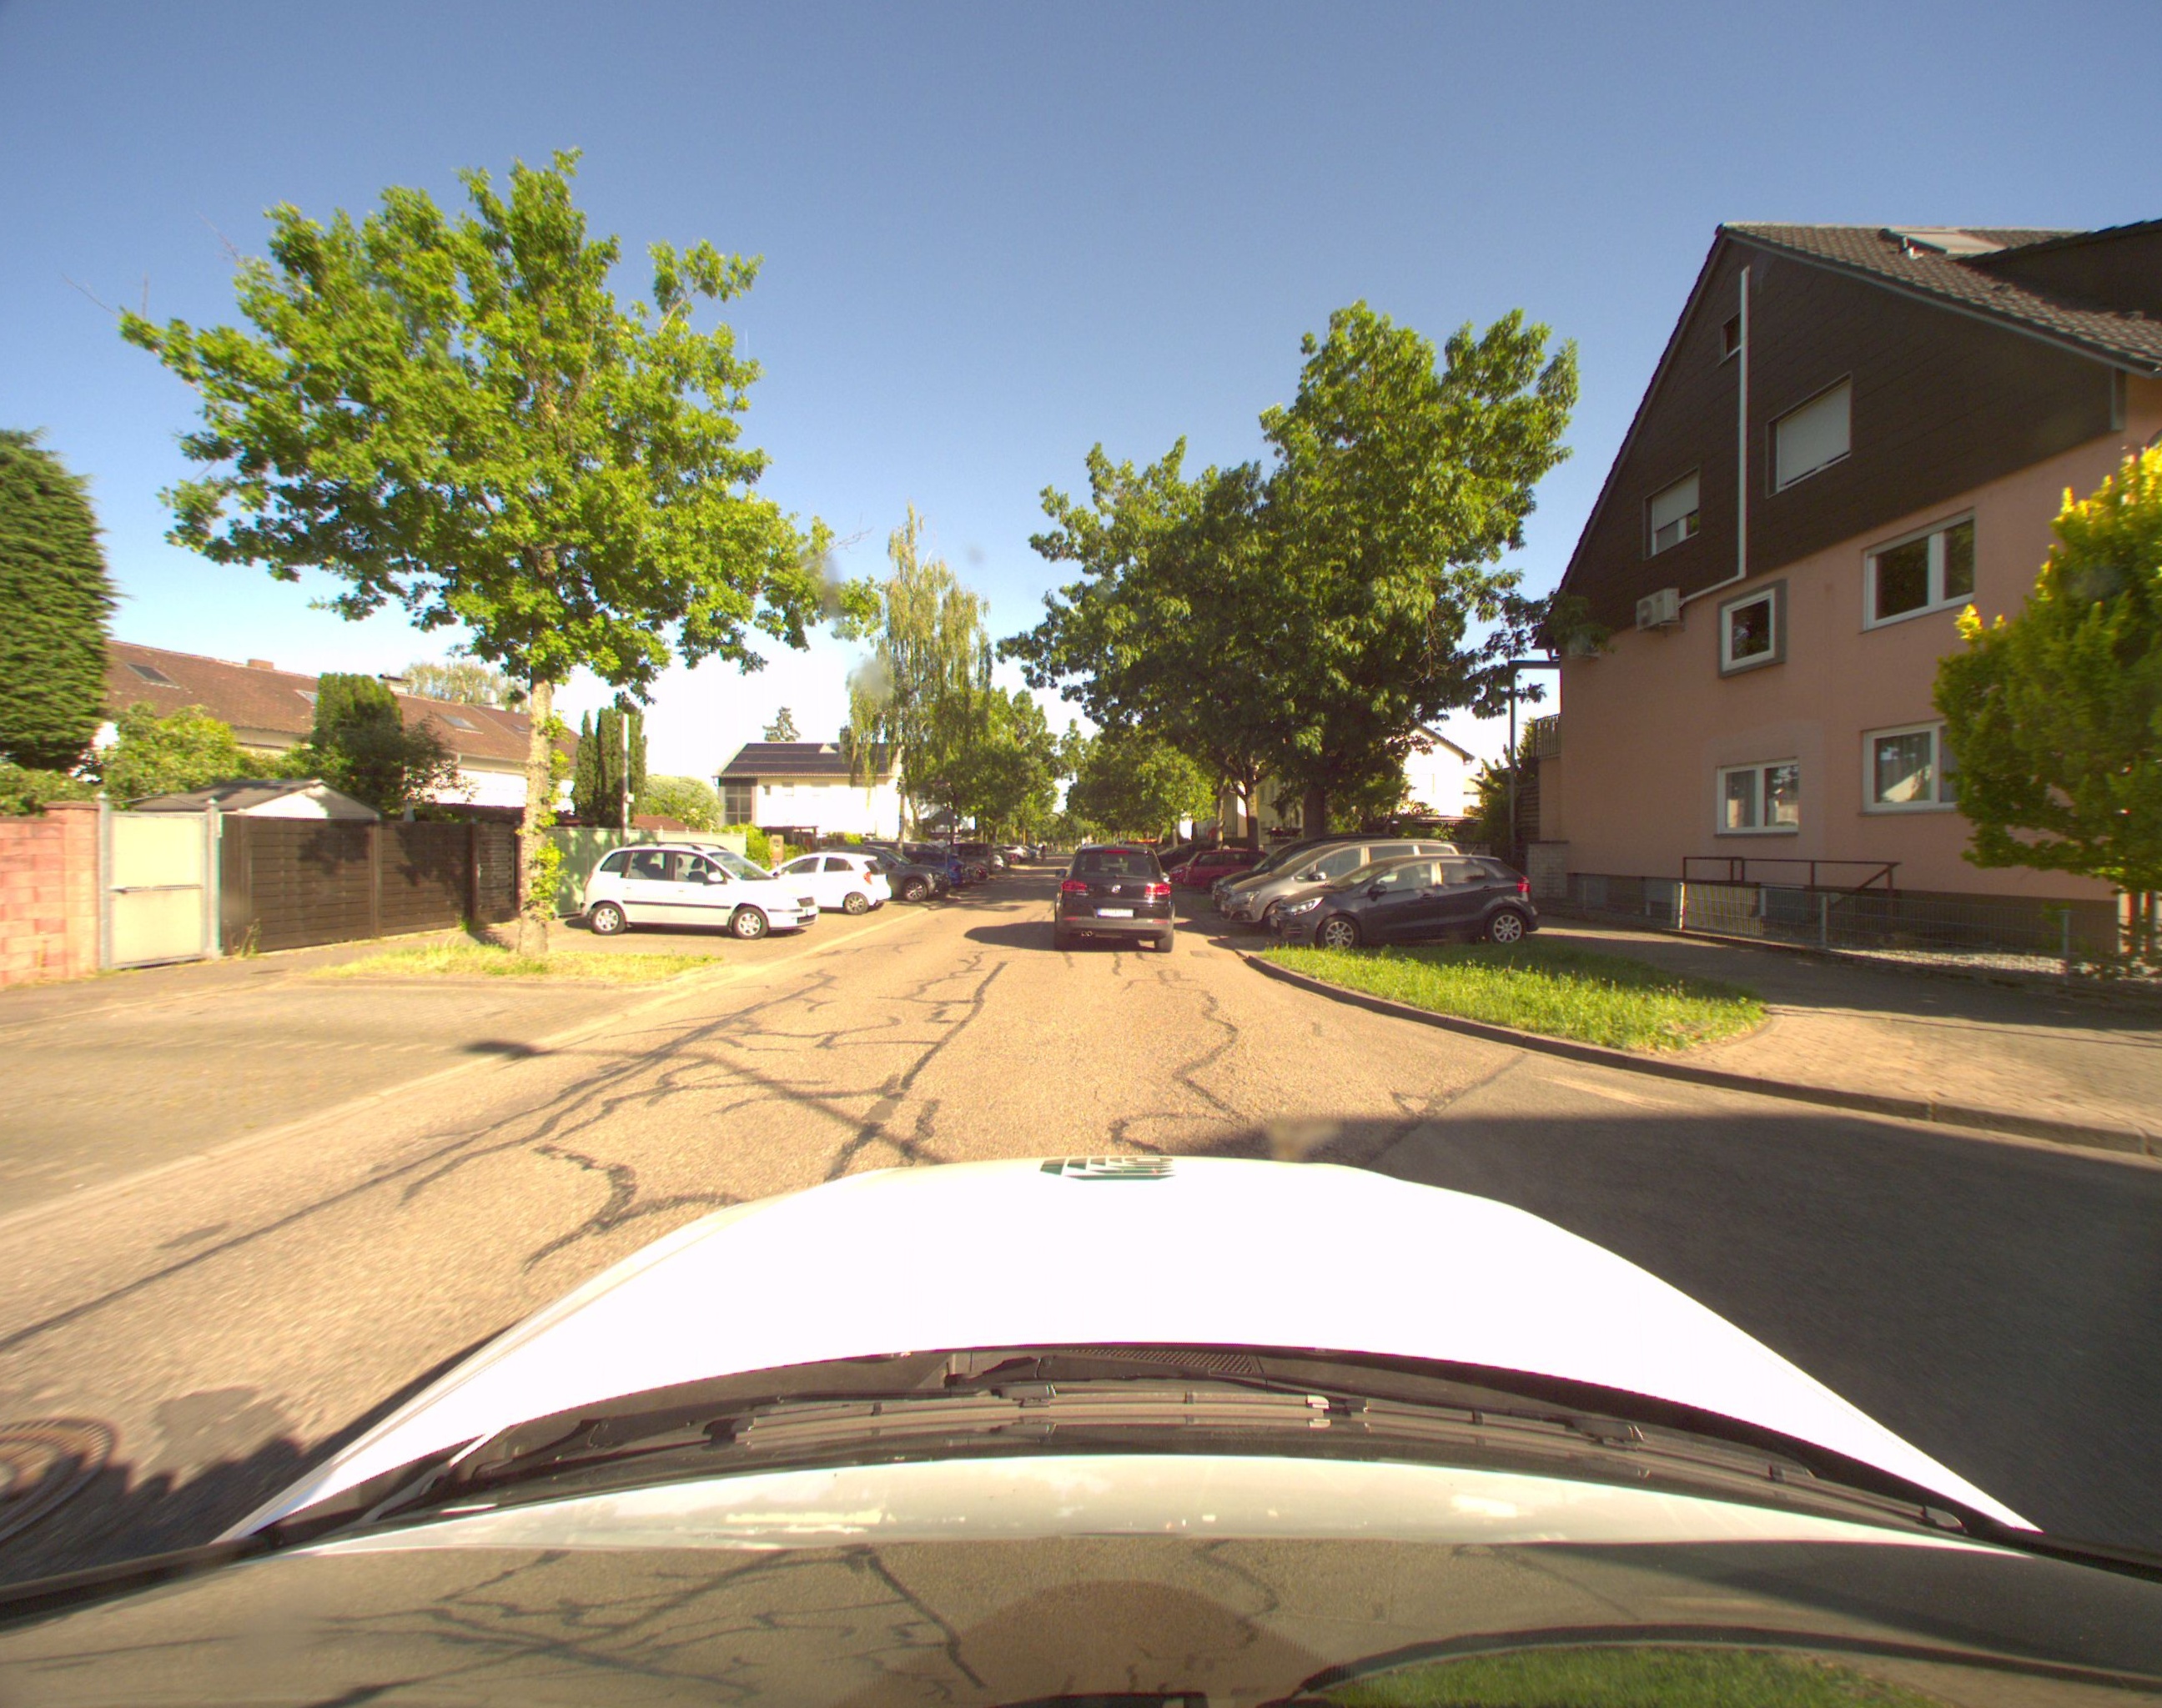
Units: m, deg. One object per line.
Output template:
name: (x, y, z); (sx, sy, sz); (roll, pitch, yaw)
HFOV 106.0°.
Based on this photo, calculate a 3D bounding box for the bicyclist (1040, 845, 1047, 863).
bicyclist: (-3.446, 0.012, 74.830); (0.594, 1.674, 0.975); (-3, 0, 0)

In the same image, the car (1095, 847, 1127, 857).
car: (4.199, -0.219, 113.566); (4.335, 1.363, 1.872); (0, 0, -3)

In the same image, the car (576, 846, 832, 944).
car: (-6.890, 0.712, 15.158); (3.924, 1.614, 1.707); (2, 1, 2)

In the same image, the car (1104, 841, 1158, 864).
car: (4.615, -0.172, 75.601); (4.805, 2.083, 2.085); (0, 0, -2)

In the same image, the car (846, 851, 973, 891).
car: (-6.257, 0.613, 29.981); (4.255, 1.424, 1.724); (0, 0, 2)

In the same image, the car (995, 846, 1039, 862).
car: (-6.852, -0.001, 87.639); (4.511, 1.631, 1.936); (0, 0, -2)

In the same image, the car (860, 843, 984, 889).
car: (-6.349, 0.464, 32.982); (4.659, 1.768, 1.794); (0, 0, -1)

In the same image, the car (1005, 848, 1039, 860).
car: (-7.491, 0.008, 103.585); (4.265, 1.478, 1.767); (0, 0, -2)

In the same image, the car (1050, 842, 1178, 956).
car: (0.512, 0.646, 13.761); (1.831, 1.636, 3.958); (1, 0, 1)

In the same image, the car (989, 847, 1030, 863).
car: (-7.206, 0.077, 82.624); (3.976, 1.595, 1.856); (0, 0, -2)

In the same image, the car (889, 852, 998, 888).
car: (-5.881, 0.664, 35.321); (4.467, 1.500, 1.834); (0, 0, -4)

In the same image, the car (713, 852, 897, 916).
car: (-6.833, 0.714, 20.453); (3.986, 1.515, 1.796); (0, 0, 1)

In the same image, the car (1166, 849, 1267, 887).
car: (5.366, 0.535, 32.579); (3.764, 1.484, 1.756); (0, 0, 1)

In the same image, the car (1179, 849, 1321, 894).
car: (5.696, 0.577, 27.795); (4.487, 1.445, 1.838); (0, 0, 1)

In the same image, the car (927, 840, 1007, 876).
car: (-6.290, 0.211, 45.299); (4.227, 1.944, 1.998); (0, 0, -4)

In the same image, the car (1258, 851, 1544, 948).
car: (5.006, 0.692, 13.117); (3.932, 1.361, 1.683); (-2, -1, 0)

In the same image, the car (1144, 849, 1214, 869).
car: (6.471, 0.319, 54.128); (4.414, 1.331, 1.690); (0, 0, -1)

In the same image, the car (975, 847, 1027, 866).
car: (-6.664, 0.173, 68.021); (4.173, 1.567, 1.792); (0, 0, 0)

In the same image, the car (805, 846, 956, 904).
car: (-6.146, 0.633, 25.249); (4.194, 1.724, 1.761); (0, 0, 1)

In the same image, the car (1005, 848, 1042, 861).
car: (-6.610, 0.061, 94.145); (4.171, 1.492, 1.646); (0, 0, -2)

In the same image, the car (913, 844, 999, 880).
car: (-6.459, 0.396, 42.461); (4.229, 1.770, 1.965); (0, 0, -4)

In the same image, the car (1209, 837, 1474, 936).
car: (4.896, 0.581, 15.739); (4.491, 1.679, 1.878); (-1, 0, -2)

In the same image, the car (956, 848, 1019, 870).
car: (-6.577, 0.332, 57.563); (4.198, 1.471, 1.690); (0, 0, -2)

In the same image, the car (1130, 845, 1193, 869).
car: (5.865, 0.205, 59.563); (4.326, 1.560, 1.866); (-1, 0, -2)

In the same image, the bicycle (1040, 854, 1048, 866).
bicycle: (-3.424, 0.512, 74.829); (0.594, 1.058, 1.986); (-3, 0, 1)

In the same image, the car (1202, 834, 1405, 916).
car: (5.051, 0.448, 18.855); (4.200, 1.781, 1.788); (0, 0, -2)

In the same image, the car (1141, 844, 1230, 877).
car: (5.594, 0.333, 44.049); (4.560, 1.646, 1.837); (-2, 0, -1)
